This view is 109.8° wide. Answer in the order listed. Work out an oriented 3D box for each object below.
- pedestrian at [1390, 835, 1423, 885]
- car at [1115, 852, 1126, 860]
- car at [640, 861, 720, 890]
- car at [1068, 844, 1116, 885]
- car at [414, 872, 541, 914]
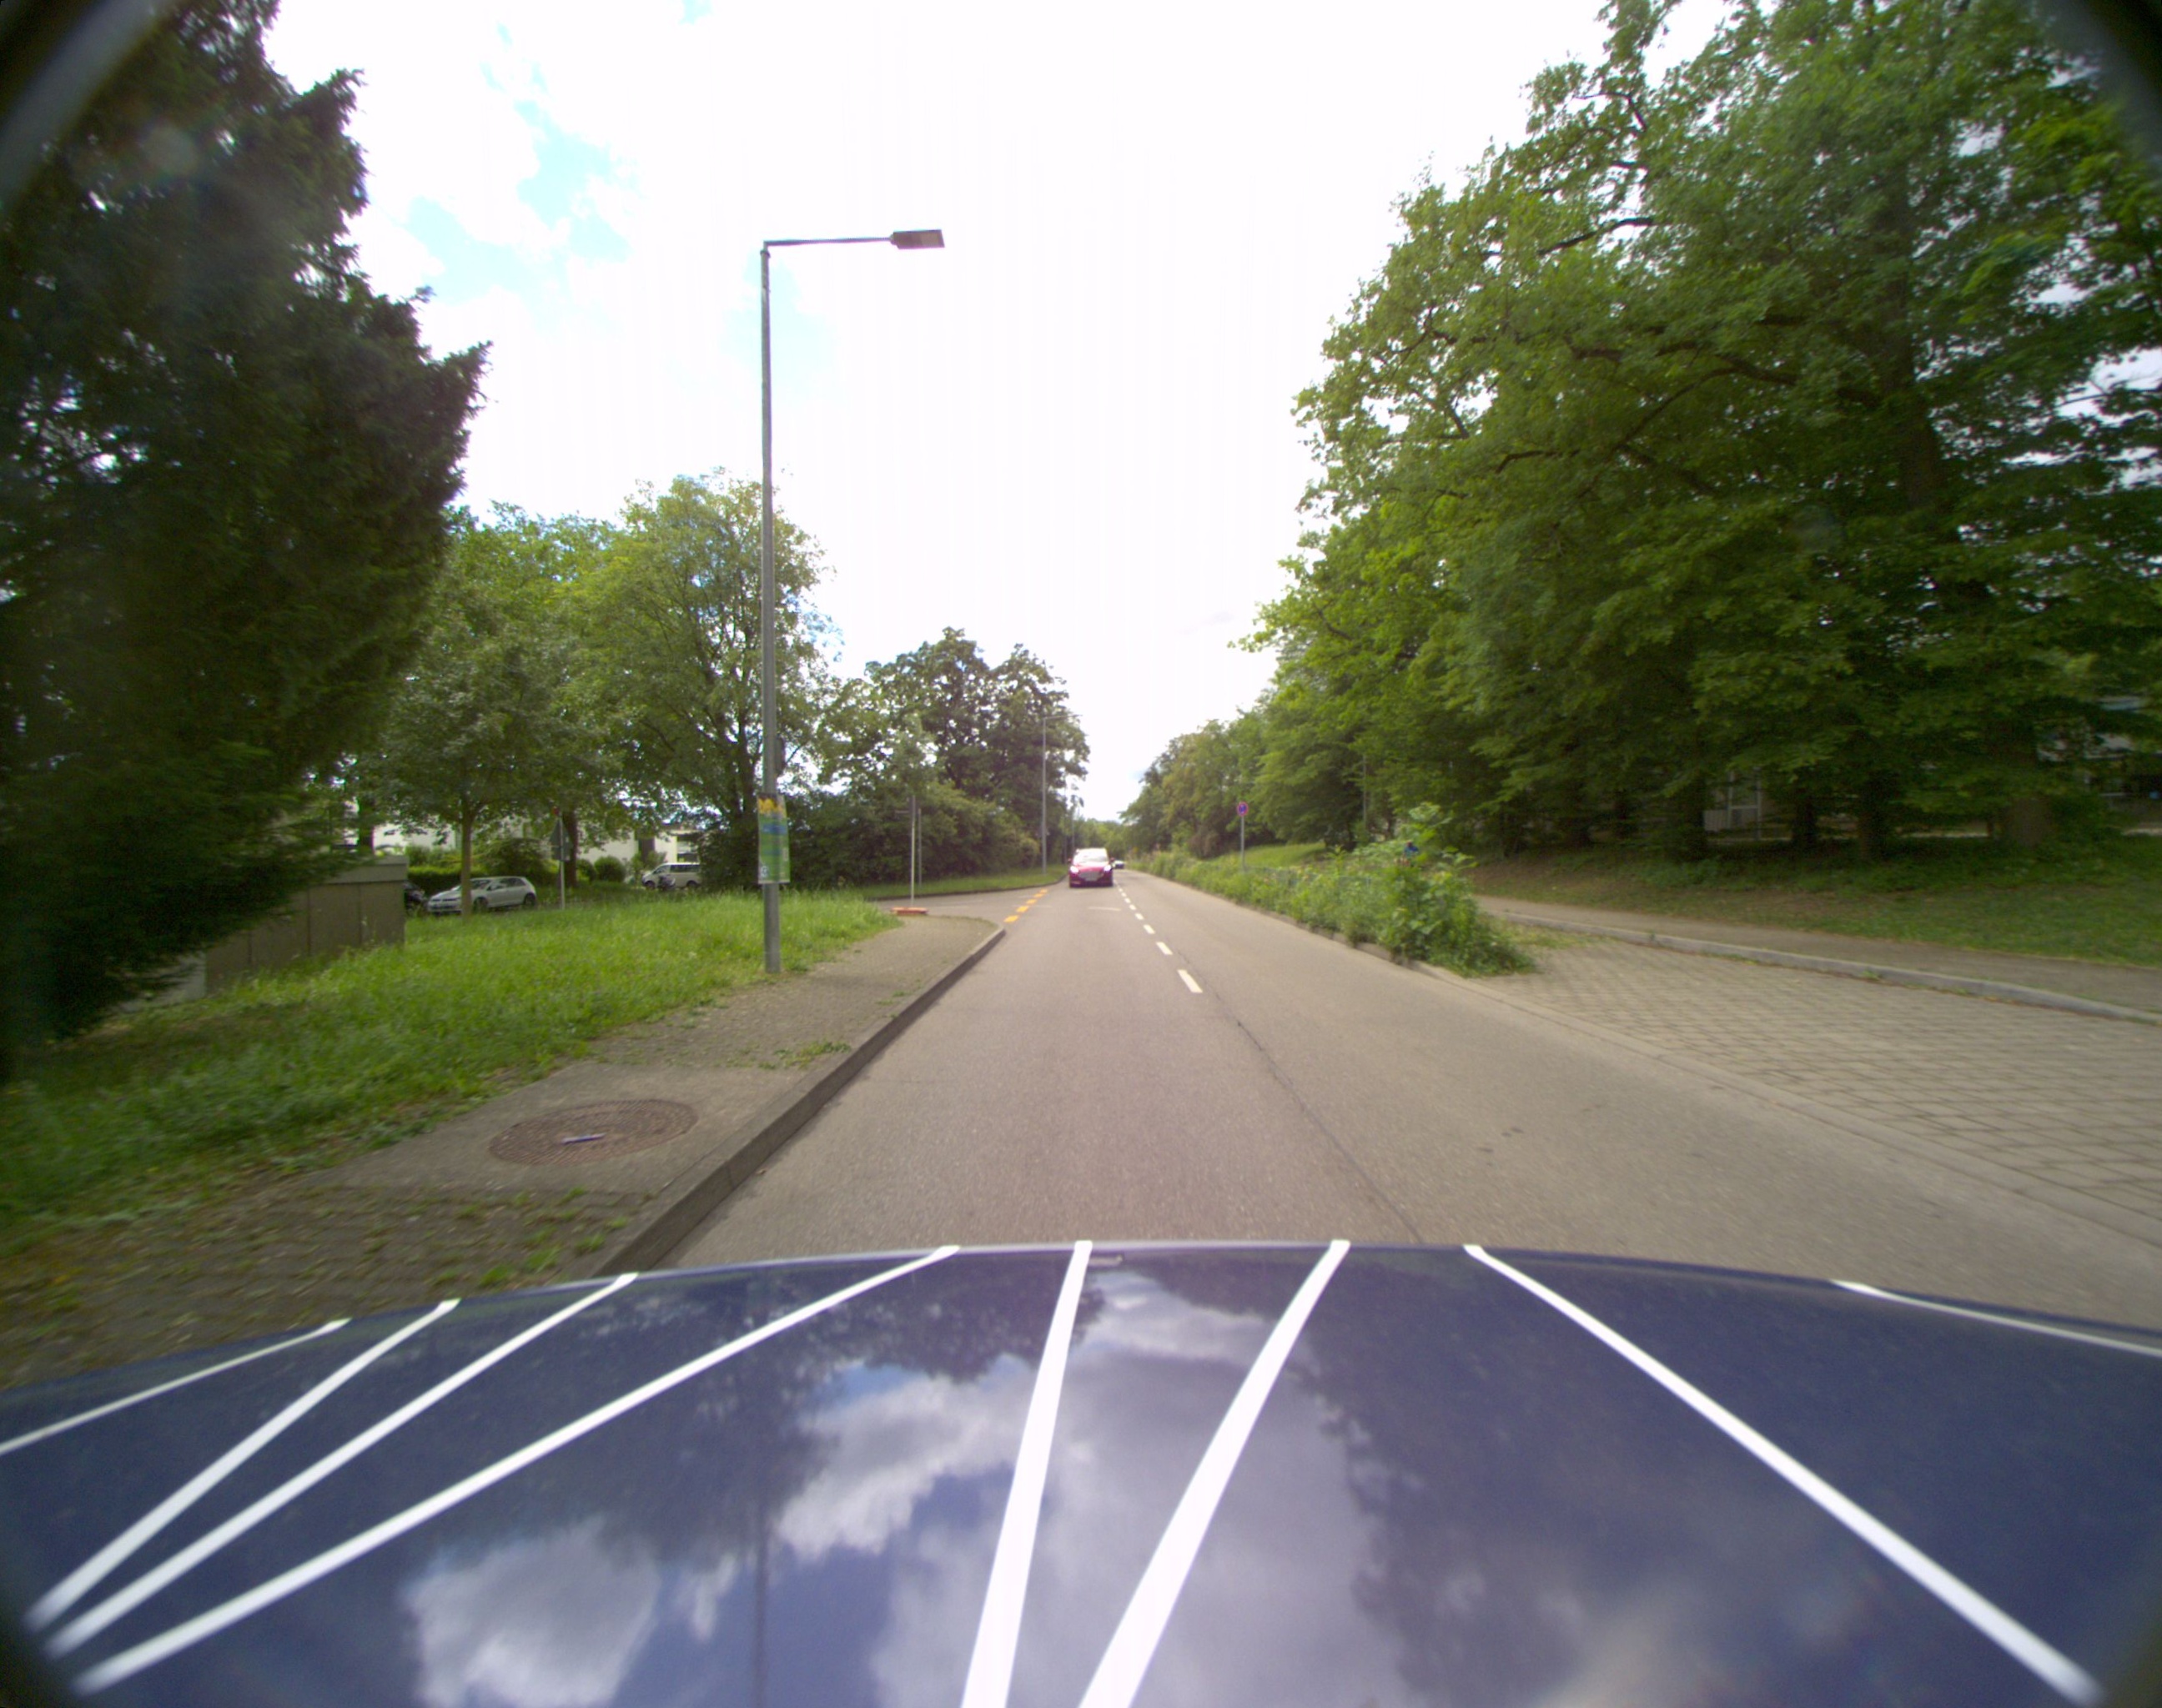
[{"bbox_3d":[10.871,0.205,25.418,0.762,1.653,0.809,0,1,-1],"label":"pedestrian"},{"bbox_3d":[6.409,0.357,122.969,1.620,1.324,4.000,0,0,1],"label":"car"},{"bbox_3d":[-28.293,1.486,53.700,4.655,2.002,2.001,0,1,4],"label":"car"},{"bbox_3d":[0.527,0.421,33.118,1.861,1.608,4.476,-2,0,2],"label":"car"},{"bbox_3d":[-24.968,1.566,31.674,1.826,1.477,4.243,0,0,1],"label":"car"}]
